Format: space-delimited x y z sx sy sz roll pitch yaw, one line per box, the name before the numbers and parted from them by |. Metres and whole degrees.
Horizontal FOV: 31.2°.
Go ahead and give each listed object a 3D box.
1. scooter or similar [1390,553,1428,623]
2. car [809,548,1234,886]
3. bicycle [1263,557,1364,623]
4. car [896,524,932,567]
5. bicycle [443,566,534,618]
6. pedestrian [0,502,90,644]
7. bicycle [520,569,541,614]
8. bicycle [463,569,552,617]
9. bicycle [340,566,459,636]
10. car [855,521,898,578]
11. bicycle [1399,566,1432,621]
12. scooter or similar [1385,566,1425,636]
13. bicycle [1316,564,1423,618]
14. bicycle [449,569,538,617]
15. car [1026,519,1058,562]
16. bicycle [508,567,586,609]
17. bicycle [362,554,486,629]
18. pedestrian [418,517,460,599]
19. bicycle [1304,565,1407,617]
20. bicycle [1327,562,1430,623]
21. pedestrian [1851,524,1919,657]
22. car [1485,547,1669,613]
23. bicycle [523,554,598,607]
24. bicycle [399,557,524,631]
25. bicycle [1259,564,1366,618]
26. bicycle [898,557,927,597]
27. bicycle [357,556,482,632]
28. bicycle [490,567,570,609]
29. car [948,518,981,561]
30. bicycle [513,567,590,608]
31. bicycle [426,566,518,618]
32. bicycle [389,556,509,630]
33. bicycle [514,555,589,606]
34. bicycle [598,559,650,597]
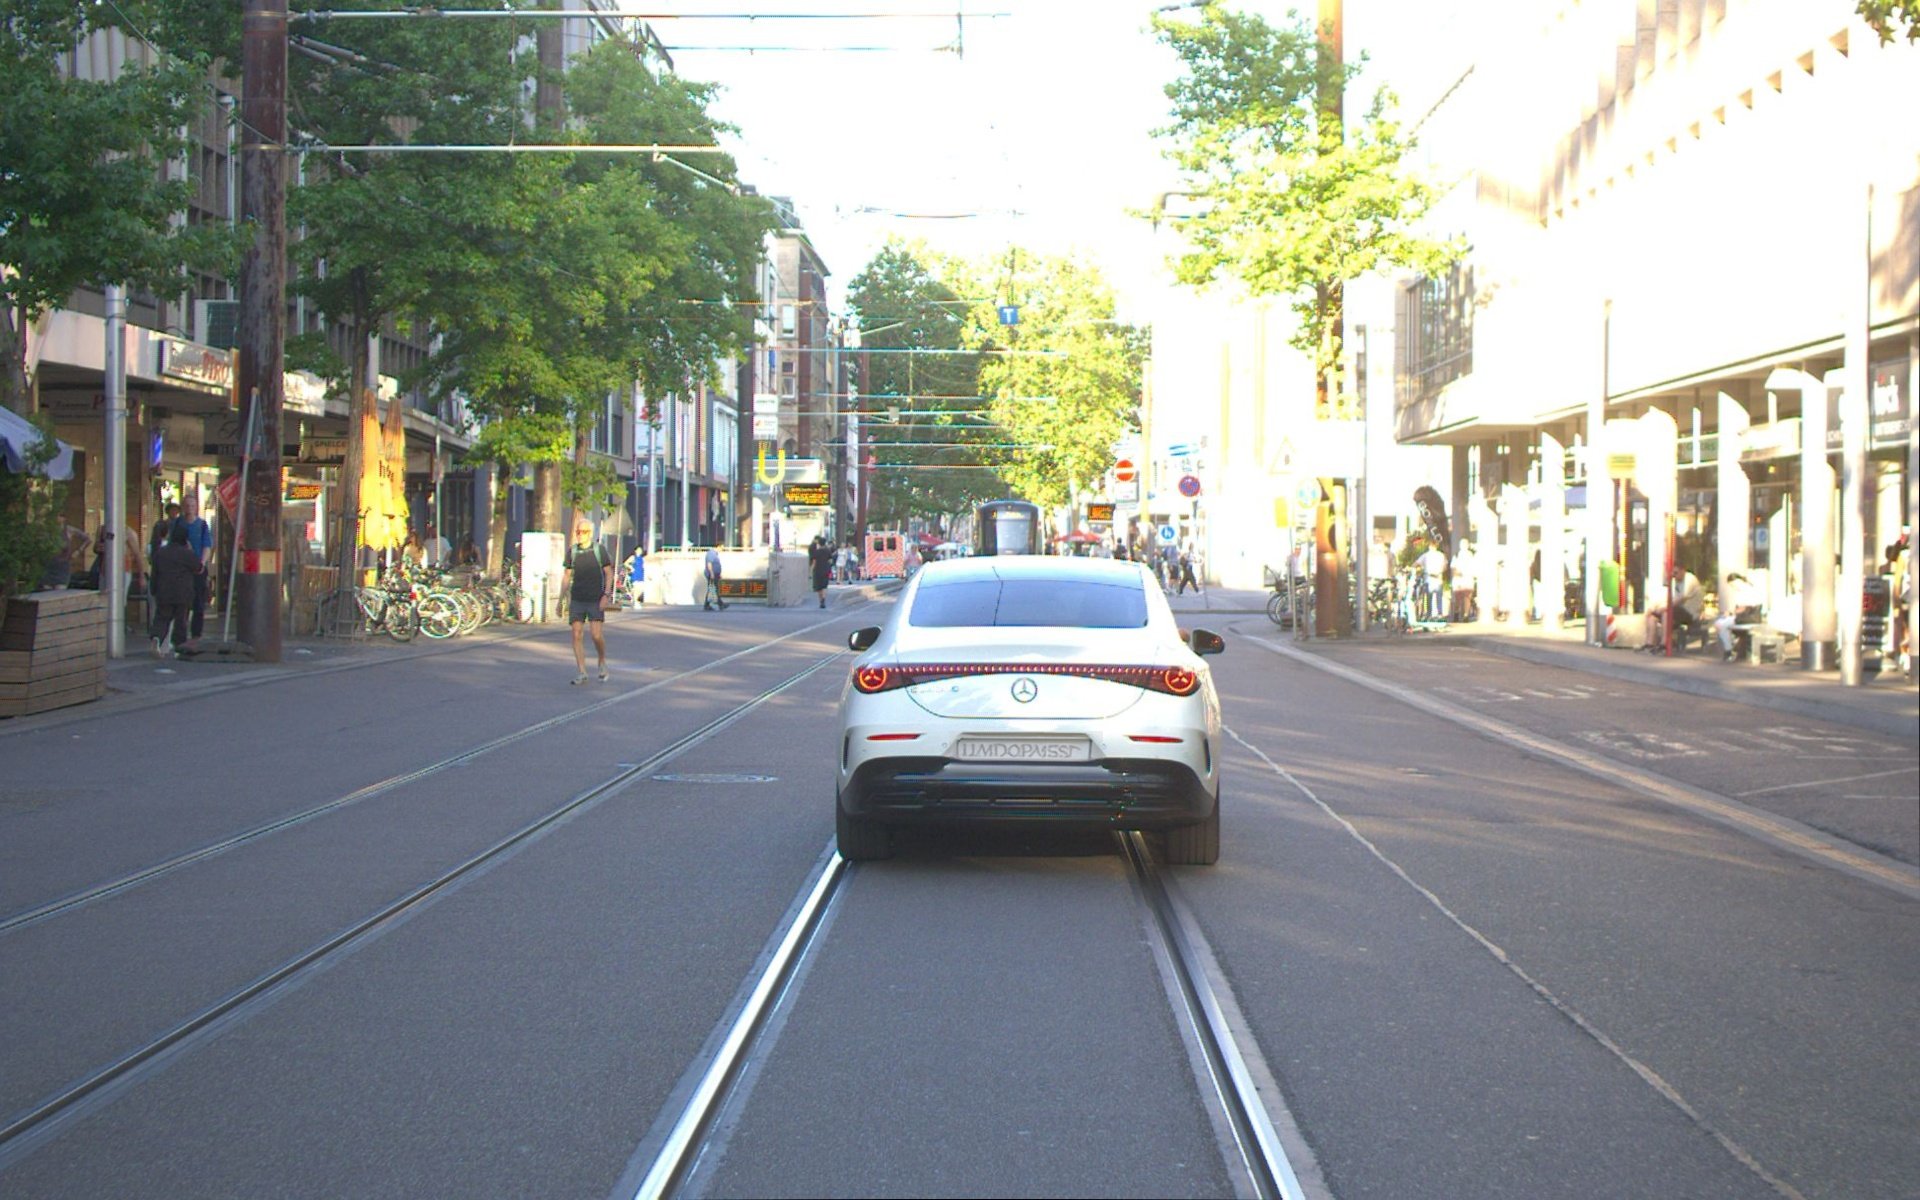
scooter or similar | 8.255 -0.230 63.224 0.491 1.273 0.660 -1 1 -10
car | 0.303 0.492 17.424 1.857 1.450 4.175 2 1 1
bicycle | 7.079 -0.202 68.861 1.908 1.277 0.610 -1 1 -10
car | -2.658 -3.172 198.918 1.910 2.452 5.275 0 1 1
bicycle | -8.147 -0.143 59.448 1.493 0.838 0.344 2 1 3
pedestrian | -10.877 -0.318 40.583 0.849 1.632 0.761 3 1 21
bicycle | -7.722 -0.156 61.775 0.343 0.780 1.405 2 1 -7
bicycle | -8.004 -0.127 60.804 1.493 0.780 0.344 2 1 3
bicycle | -7.923 0.017 48.580 1.596 0.927 0.377 2 1 8
car | -4.349 -2.649 180.174 1.993 2.887 5.275 0 1 1
bicycle | 9.604 -0.145 72.494 0.564 1.124 1.929 -1 1 4
scooter or similar | 8.280 0.013 63.982 0.527 1.273 0.660 -1 1 -10
bicycle | 8.470 -0.191 71.144 2.113 1.092 0.610 0 1 -11
bicycle | -8.163 -0.123 60.155 1.493 0.780 0.344 2 1 3
car | 5.503 -3.986 231.081 2.099 2.887 5.285 0 1 1
bicycle | -8.306 -0.240 69.161 1.493 0.780 0.344 2 1 3
bicycle | -8.079 -0.134 51.871 1.788 1.073 0.377 2 1 -3
pedestrian | -11.136 -0.899 73.473 0.785 1.760 0.537 0 1 -23
bicycle | 8.436 -0.195 73.345 2.113 1.092 0.610 0 1 -10
bicycle | 8.271 -0.156 68.023 1.908 1.152 0.610 -1 1 -10
pedestrian | 12.057 -0.128 44.607 0.744 1.694 0.858 1 1 2
car | 13.954 -0.464 77.861 3.801 1.468 1.649 0 1 -4
bicycle | -8.236 -0.405 70.924 1.492 1.025 0.345 2 1 -9
bicycle | -7.695 -0.099 53.087 1.846 1.073 0.377 2 1 -3
bicycle | 7.369 -0.184 71.840 2.113 1.092 0.610 1 0 -10
bicycle | -1.415 -0.702 102.267 0.800 1.138 2.257 2 1 0
bicycle | -8.078 -0.098 51.421 1.788 1.073 0.377 2 1 -3
bicycle | -8.471 -0.241 67.727 1.493 0.780 0.344 2 1 3
car | 0.300 -4.067 230.892 2.099 2.887 5.275 0 1 1
bicycle | -8.267 -0.251 69.529 1.493 0.780 0.344 2 1 3
bicycle | -8.294 -0.136 58.425 1.493 0.838 0.344 2 1 3
bicycle | -8.270 -0.111 55.687 1.846 1.137 0.377 2 1 3
bicycle | -8.377 -0.396 70.488 1.492 1.006 0.345 2 1 -9
bicycle | -9.011 -0.597 92.145 0.719 1.006 2.038 1 1 15
